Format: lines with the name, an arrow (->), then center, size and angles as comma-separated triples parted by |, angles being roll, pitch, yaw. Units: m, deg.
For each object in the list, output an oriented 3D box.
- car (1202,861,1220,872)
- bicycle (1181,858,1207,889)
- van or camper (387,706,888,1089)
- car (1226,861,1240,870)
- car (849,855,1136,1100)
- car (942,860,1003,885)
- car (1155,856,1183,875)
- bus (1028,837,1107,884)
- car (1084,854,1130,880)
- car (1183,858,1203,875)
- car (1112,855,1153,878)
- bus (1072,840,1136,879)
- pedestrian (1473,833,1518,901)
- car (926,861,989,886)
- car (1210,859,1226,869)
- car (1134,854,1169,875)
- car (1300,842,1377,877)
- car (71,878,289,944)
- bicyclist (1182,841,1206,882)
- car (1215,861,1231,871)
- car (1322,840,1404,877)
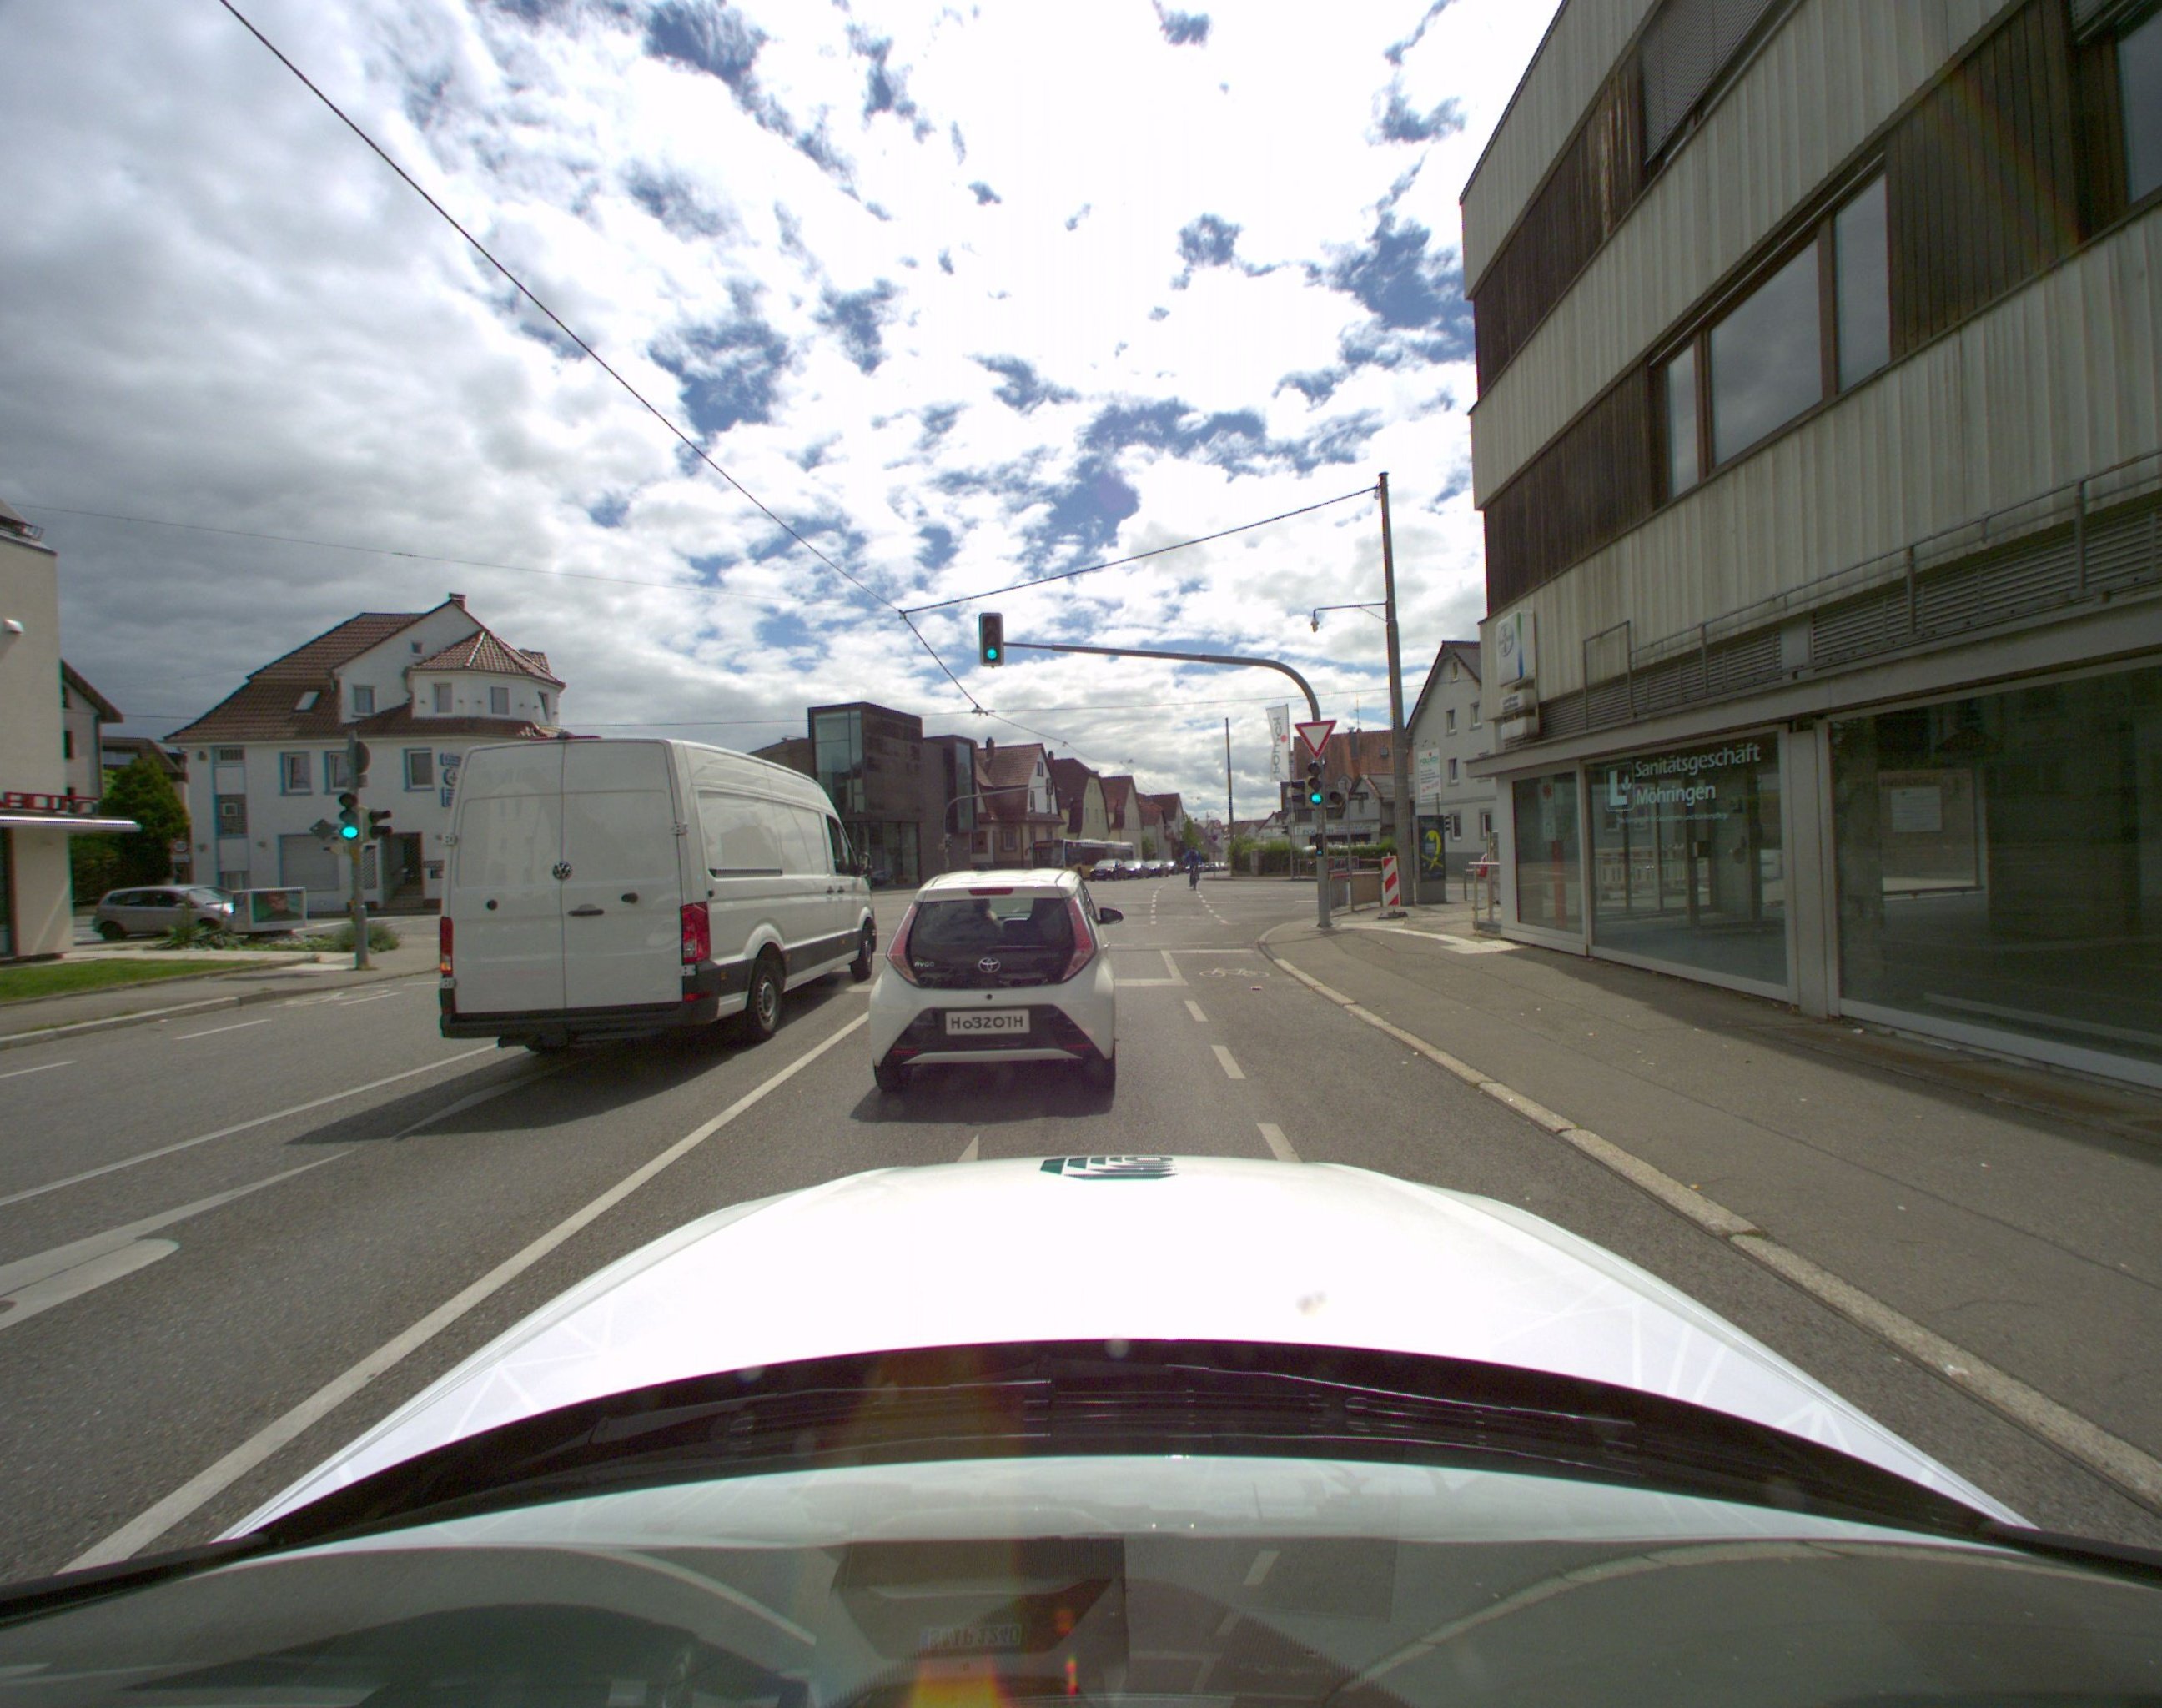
car -> 20.570, 1.998, 128.700 | 1.977, 1.640, 4.020 | -1, 0, 19
bicycle -> 4.572, 0.762, 33.122 | 0.829, 1.164, 2.193 | -2, 0, 2
van or camper -> -3.788, 0.297, 8.567 | 2.101, 2.586, 5.643 | -3, 0, -1
car -> 30.218, 2.229, 161.772 | 1.977, 1.640, 4.020 | -1, 0, 19
car -> -0.550, 0.763, 6.809 | 1.733, 1.460, 3.531 | -2, 0, 0
car -> -8.022, 1.395, 60.380 | 3.957, 1.684, 2.008 | -2, 0, 15
car -> 9.678, 1.236, 88.858 | 1.976, 2.013, 4.021 | -1, 0, 22
bus -> -0.776, 0.386, 58.118 | 2.756, 3.060, 9.233 | -1, 0, 17
car -> 1.821, 0.871, 55.434 | 1.977, 1.640, 4.020 | -1, 0, 19
car -> 14.408, 1.598, 104.406 | 1.979, 2.013, 4.016 | -1, 0, 15
car -> 3.859, 0.891, 60.512 | 1.977, 1.640, 4.204 | -1, 0, 19
bus -> 2.035, 0.412, 67.026 | 2.756, 2.914, 9.233 | -1, 0, 17
pedestrian -> 10.291, 0.311, 20.248 | 0.827, 1.637, 0.878 | -2, 0, 18
car -> -8.733, 1.367, 57.669 | 3.957, 1.640, 2.008 | 0, 0, 15
car -> 22.755, 1.674, 135.225 | 1.977, 1.640, 4.020 | -1, 0, 19
car -> 5.914, 0.847, 67.964 | 1.977, 1.640, 4.020 | -1, 0, 19
car -> 15.480, 0.330, 49.042 | 3.983, 2.013, 1.995 | -1, 0, -7
car -> -26.558, 1.643, 24.152 | 3.981, 1.684, 1.996 | -2, 0, -5
bicyclist -> 4.584, 0.304, 33.058 | 0.837, 1.614, 1.084 | 1, 0, 2
car -> 24.514, 2.078, 140.664 | 1.977, 1.640, 4.020 | -1, 0, 19
car -> 16.131, 0.259, 46.707 | 3.984, 1.948, 1.995 | -1, -1, -8
